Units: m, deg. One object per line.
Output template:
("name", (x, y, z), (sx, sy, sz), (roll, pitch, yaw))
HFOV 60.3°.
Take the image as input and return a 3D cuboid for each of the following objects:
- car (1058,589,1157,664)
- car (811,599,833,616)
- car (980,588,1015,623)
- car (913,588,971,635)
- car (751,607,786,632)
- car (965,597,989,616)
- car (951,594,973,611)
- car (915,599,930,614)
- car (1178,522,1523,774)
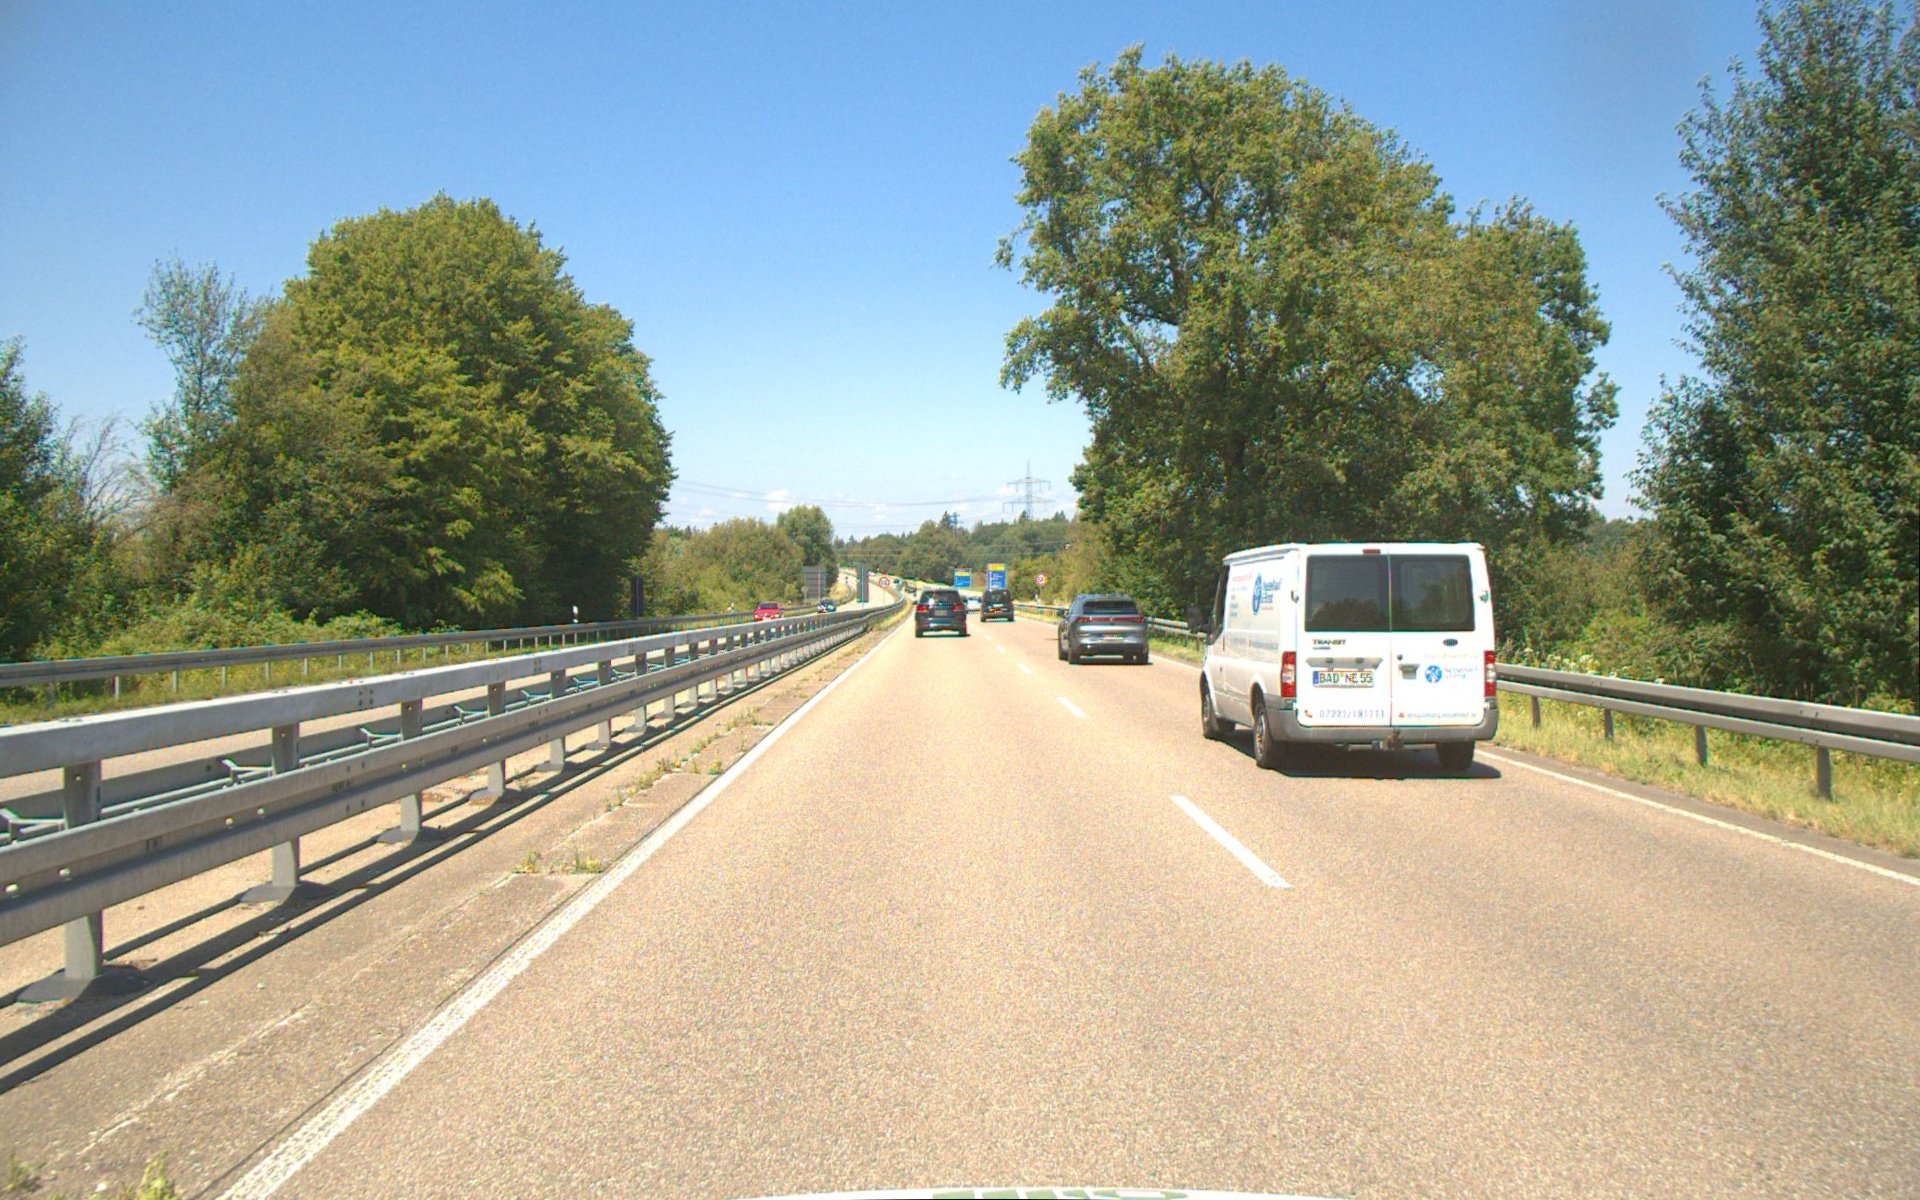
("car", (3.297, 0.554, 37.625), (1.749, 1.580, 4.018), (0, 1, -2))
("car", (-13.054, 0.702, 156.981), (1.761, 1.494, 3.773), (1, 0, 0))
("car", (2.070, 0.268, 92.427), (1.744, 1.848, 4.212), (-1, 1, -1))
("car", (-0.700, 0.403, 60.935), (1.954, 1.683, 3.998), (1, 0, -3))
("car", (-11.775, 1.172, 101.948), (1.740, 1.444, 4.574), (-1, 0, -1))
("car", (1.384, 0.517, 138.735), (1.743, 1.505, 4.313), (1, 0, -3))
("car", (0.174, 0.221, 152.008), (1.783, 1.439, 3.999), (-2, 1, -2))
("car", (-4.063, 0.683, 177.369), (1.484, 1.501, 3.064), (1, 1, -3))
("car", (3.582, 0.415, 16.260), (1.965, 2.023, 5.032), (-2, 0, -2))
